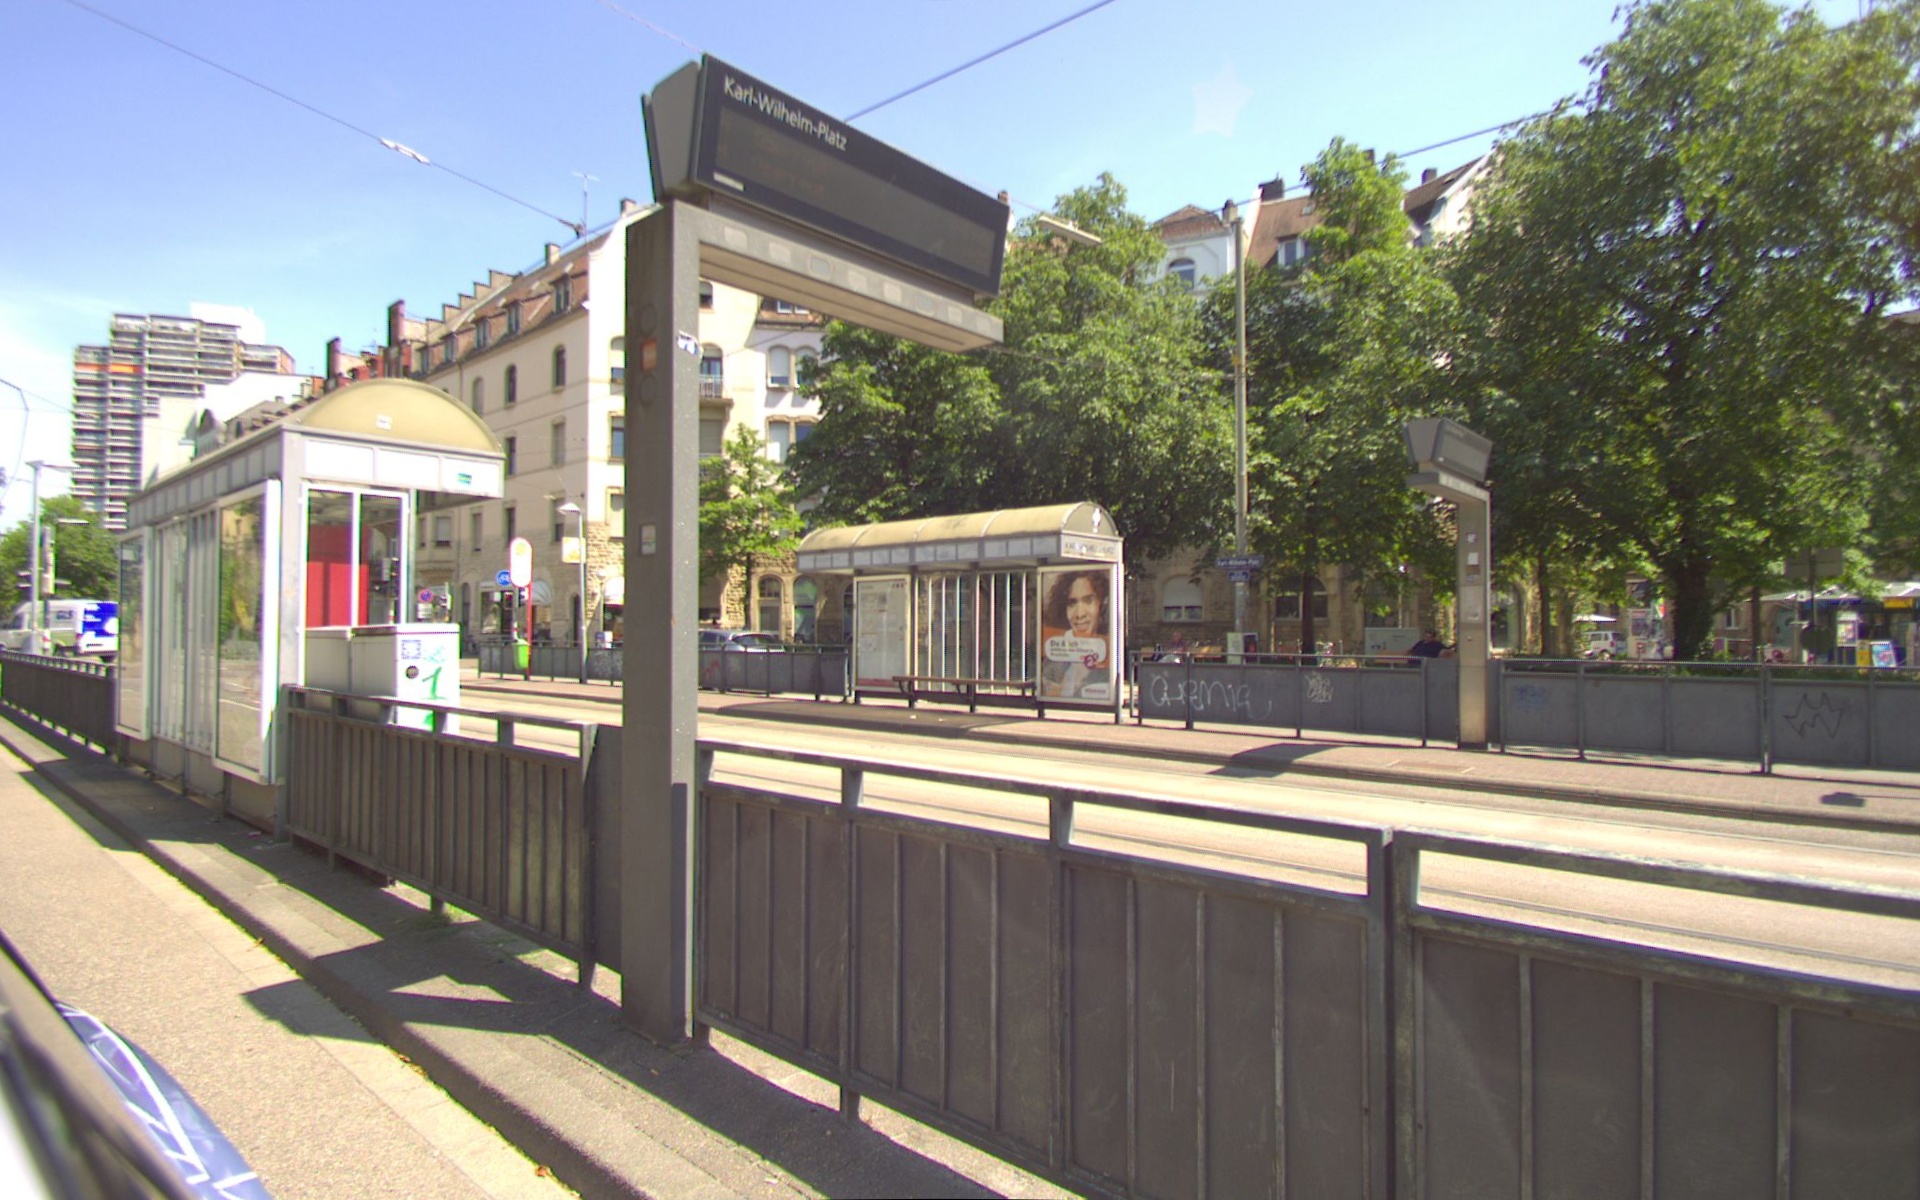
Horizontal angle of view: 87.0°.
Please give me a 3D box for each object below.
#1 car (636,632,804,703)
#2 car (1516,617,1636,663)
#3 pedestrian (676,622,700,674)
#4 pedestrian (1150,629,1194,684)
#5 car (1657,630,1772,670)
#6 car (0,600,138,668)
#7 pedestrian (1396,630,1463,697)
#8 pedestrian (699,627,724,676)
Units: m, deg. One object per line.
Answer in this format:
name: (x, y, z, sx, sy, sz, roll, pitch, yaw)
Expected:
car: (-5.594, 1.484, 23.358, 3.998, 1.404, 1.789, -1, 0, 41)
car: (26.724, 1.696, 44.004, 1.966, 1.803, 4.011, -1, 0, -33)
pedestrian: (-8.884, 1.567, 33.103, 0.473, 1.659, 0.586, -2, -3, 41)
pedestrian: (5.097, 1.351, 24.311, 0.930, 1.253, 0.860, -1, 0, 17)
car: (35.794, 2.340, 48.096, 1.736, 1.721, 3.998, -1, 0, -33)
car: (-37.458, 1.367, 42.089, 5.777, 2.693, 2.262, -1, 0, 17)
pedestrian: (9.286, 1.235, 20.036, 0.852, 1.253, 0.939, -1, 0, -43)
pedestrian: (-7.978, 1.652, 32.492, 0.473, 1.563, 0.586, -2, -3, 39)
